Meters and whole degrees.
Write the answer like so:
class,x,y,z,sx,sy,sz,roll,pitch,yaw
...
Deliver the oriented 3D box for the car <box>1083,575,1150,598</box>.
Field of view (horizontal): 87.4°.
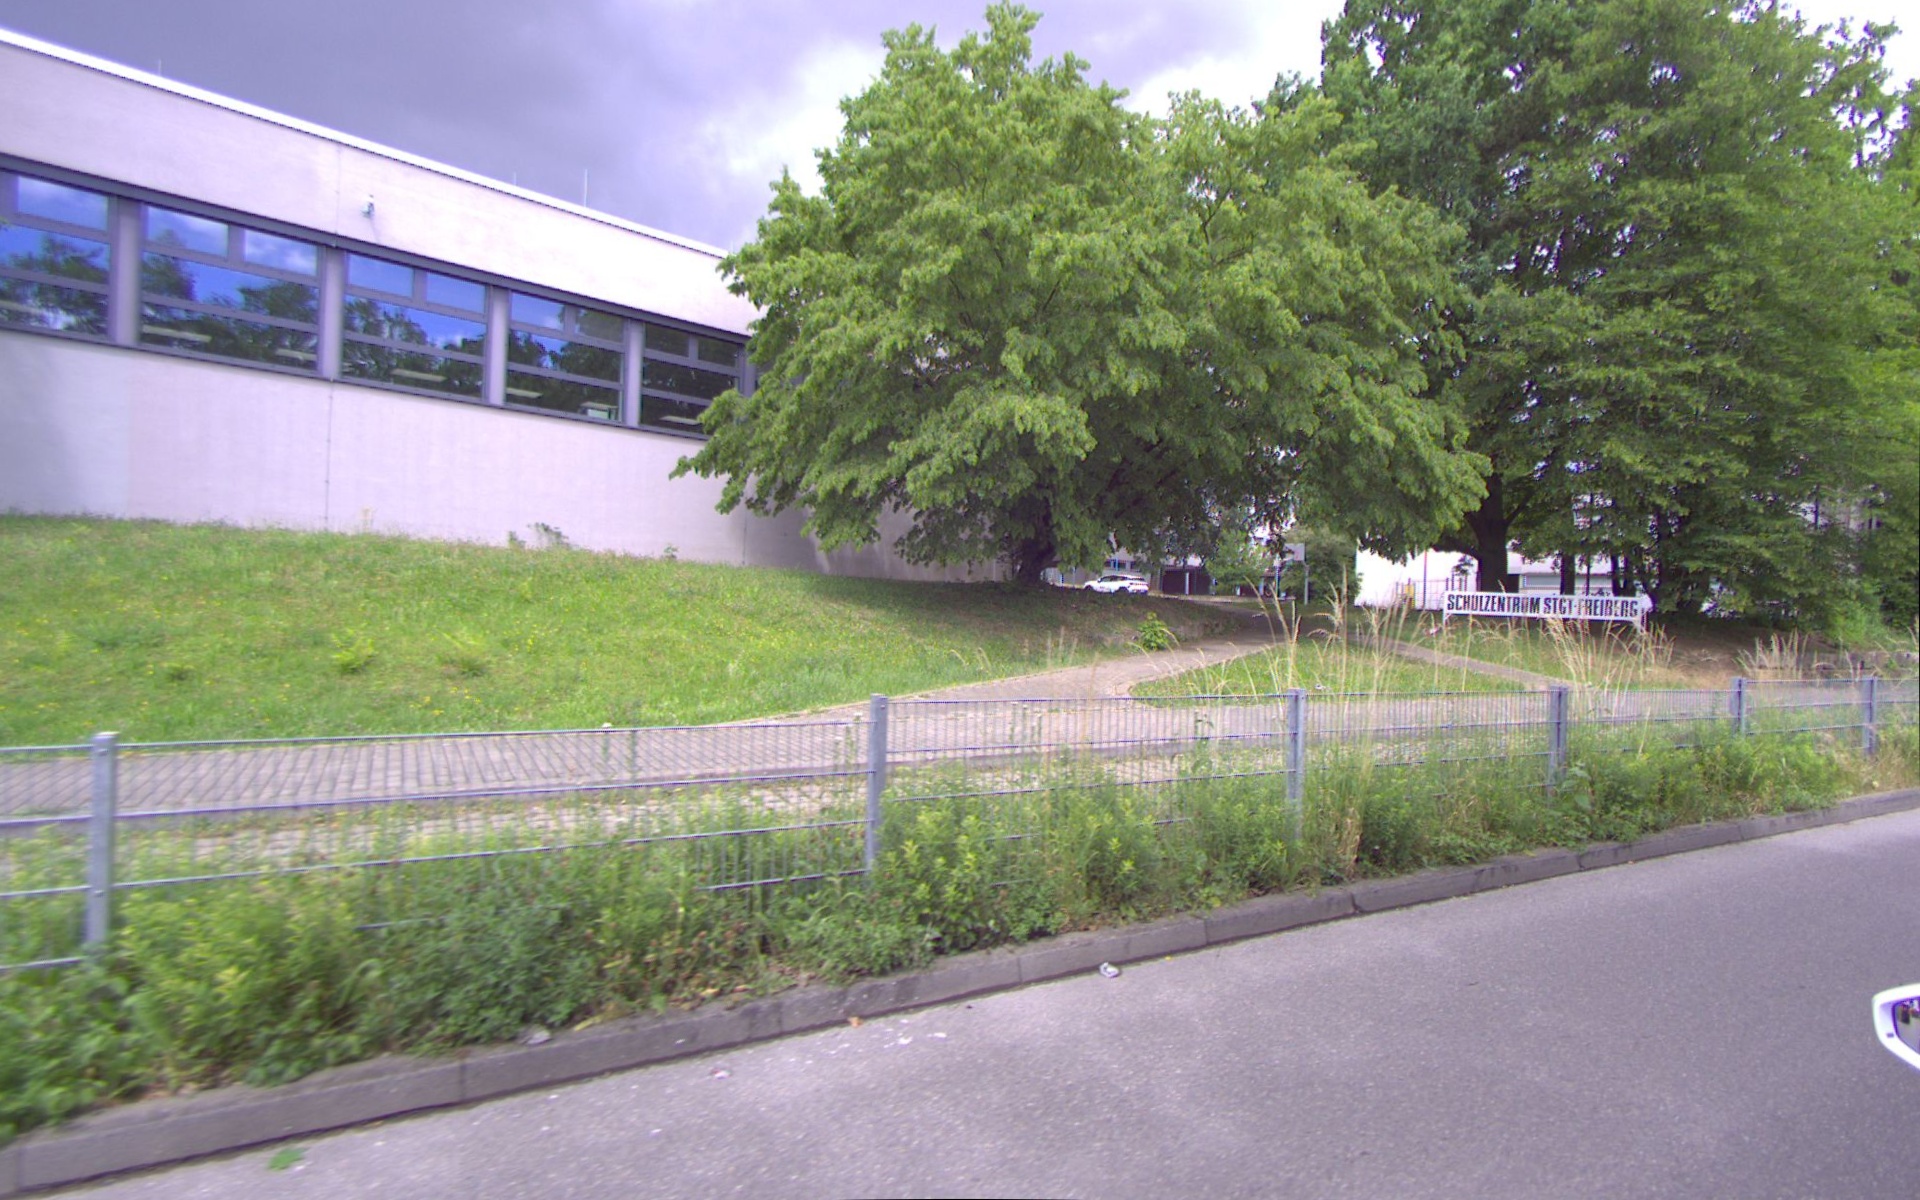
class,x,y,z,sx,sy,sz,roll,pitch,yaw
car,10.083,-0.843,64.809,4.038,1.367,1.688,0,-1,44
